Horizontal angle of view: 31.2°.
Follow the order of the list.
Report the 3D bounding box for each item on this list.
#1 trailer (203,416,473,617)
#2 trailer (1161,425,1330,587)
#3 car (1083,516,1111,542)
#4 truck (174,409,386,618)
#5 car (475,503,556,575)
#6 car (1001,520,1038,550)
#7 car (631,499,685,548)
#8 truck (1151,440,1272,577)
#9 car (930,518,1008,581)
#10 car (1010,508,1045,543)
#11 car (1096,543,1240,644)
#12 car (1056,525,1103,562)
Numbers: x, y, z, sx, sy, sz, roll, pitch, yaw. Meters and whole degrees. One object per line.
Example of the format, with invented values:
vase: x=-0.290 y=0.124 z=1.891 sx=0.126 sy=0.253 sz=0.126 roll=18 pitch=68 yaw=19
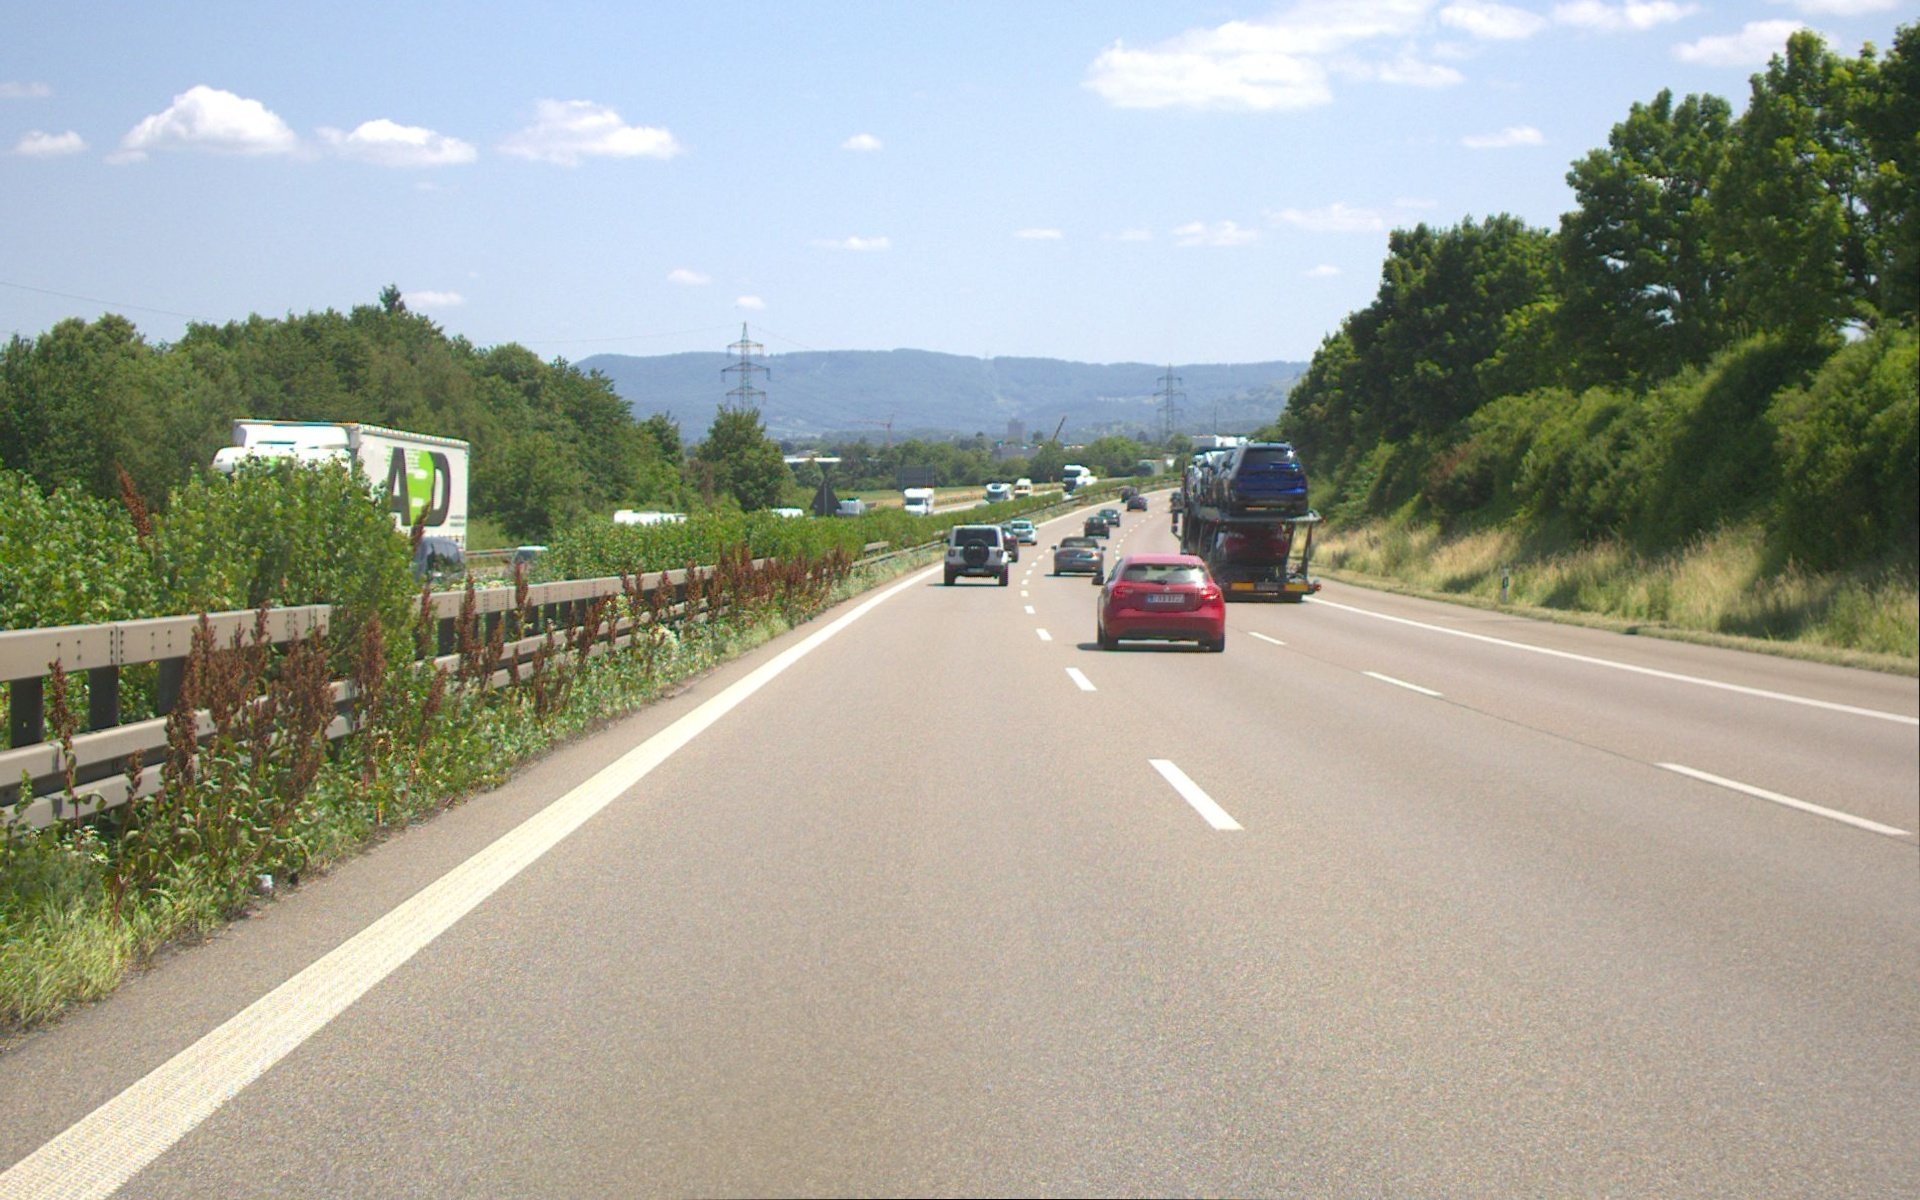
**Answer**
trailer: x=-13.702 y=-1.911 z=77.284 sx=3.193 sy=4.062 sz=14.043 roll=1 pitch=2 yaw=1
trailer: x=7.523 y=-2.543 z=92.818 sx=2.855 sy=3.979 sz=15.398 roll=1 pitch=2 yaw=-1
car: x=8.960 y=-4.642 z=224.790 sx=1.636 sy=1.699 sz=3.400 roll=1 pitch=2 yaw=5
truck: x=-13.892 y=-1.780 z=70.599 sx=3.176 sy=4.095 sz=5.226 roll=1 pitch=2 yaw=1
car: x=-12.851 y=-1.792 z=99.557 sx=1.839 sy=2.006 sz=4.000 roll=1 pitch=2 yaw=0
car: x=2.644 y=-2.888 z=151.787 sx=1.455 sy=1.263 sz=3.337 roll=1 pitch=2 yaw=3
car: x=-11.538 y=-2.949 z=131.446 sx=1.629 sy=1.821 sz=3.769 roll=1 pitch=2 yaw=2
truck: x=7.292 y=-2.689 z=100.449 sx=2.754 sy=3.839 sz=6.645 roll=1 pitch=2 yaw=-2
car: x=0.259 y=-1.579 z=105.494 sx=2.083 sy=1.823 sz=4.754 roll=1 pitch=2 yaw=-3
car: x=3.928 y=-4.342 z=199.253 sx=1.698 sy=2.006 sz=3.822 roll=1 pitch=2 yaw=5
car: x=3.054 y=-0.120 z=51.185 sx=1.686 sy=1.374 sz=3.949 roll=1 pitch=2 yaw=-3
car: x=4.288 y=-2.053 z=123.505 sx=1.452 sy=1.263 sz=3.539 roll=1 pitch=2 yaw=-2
